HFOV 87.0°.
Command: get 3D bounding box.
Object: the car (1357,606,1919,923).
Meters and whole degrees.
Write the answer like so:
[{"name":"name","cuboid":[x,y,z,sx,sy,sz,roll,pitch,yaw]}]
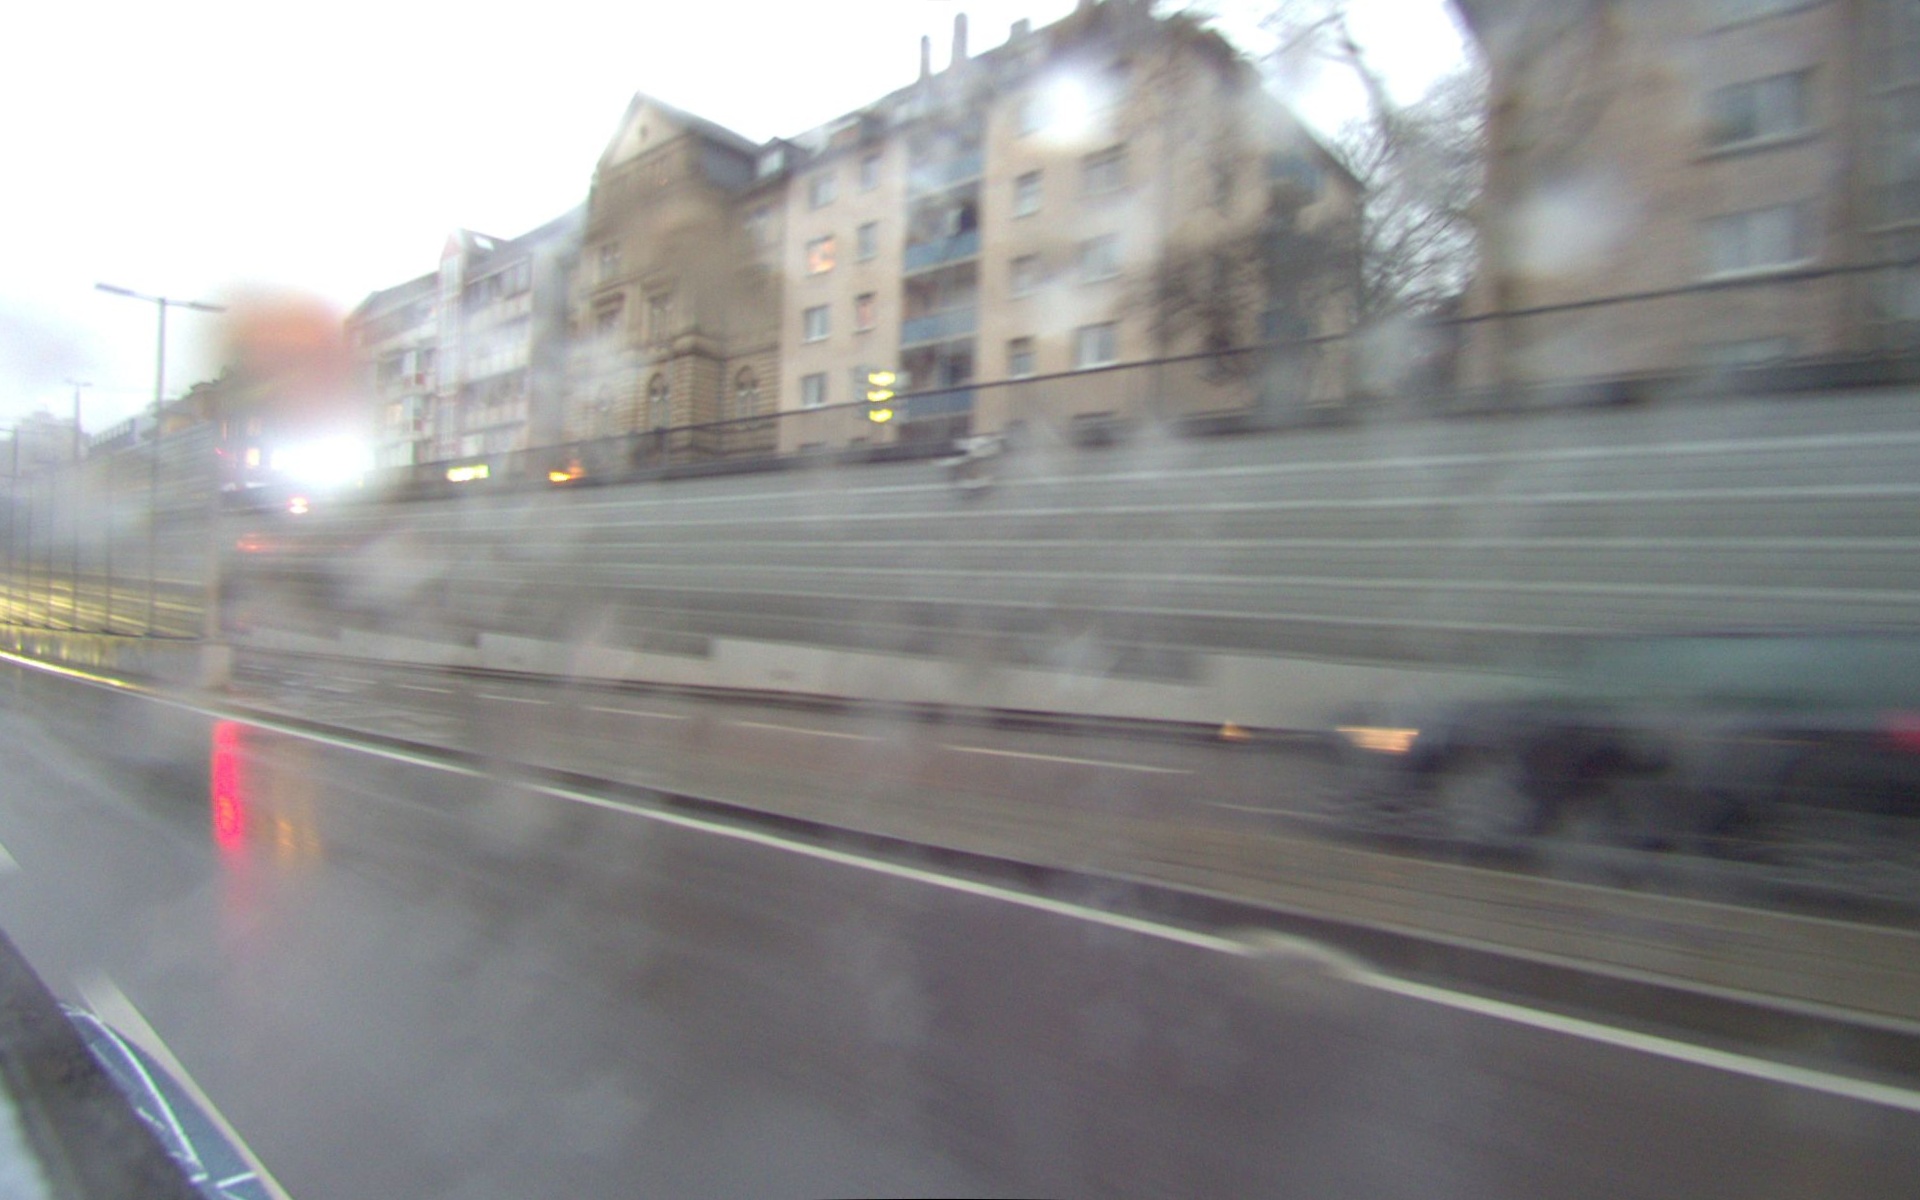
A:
[{"name":"car","cuboid":[4.436,0.810,5.852,3.684,1.482,1.555,-2,-3,41]}]
